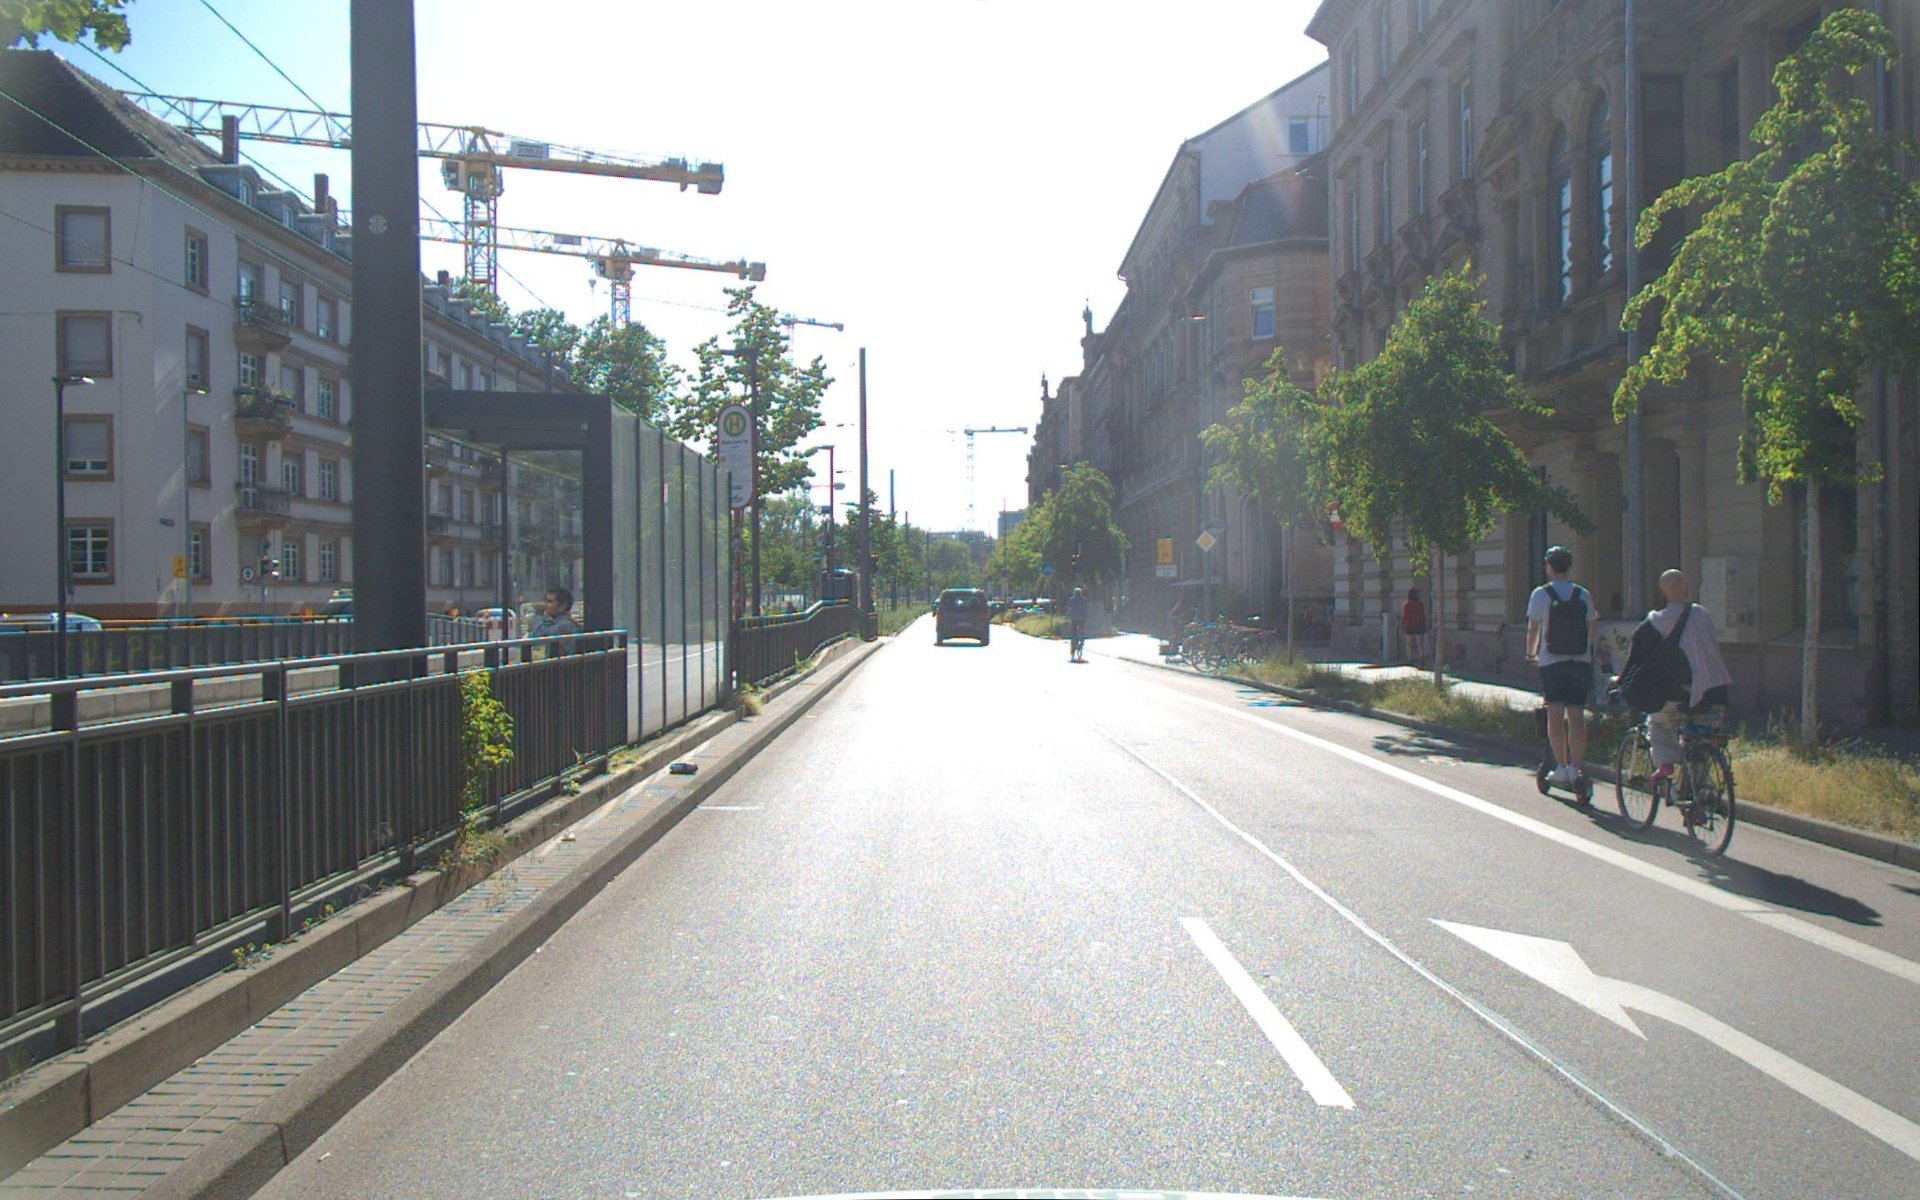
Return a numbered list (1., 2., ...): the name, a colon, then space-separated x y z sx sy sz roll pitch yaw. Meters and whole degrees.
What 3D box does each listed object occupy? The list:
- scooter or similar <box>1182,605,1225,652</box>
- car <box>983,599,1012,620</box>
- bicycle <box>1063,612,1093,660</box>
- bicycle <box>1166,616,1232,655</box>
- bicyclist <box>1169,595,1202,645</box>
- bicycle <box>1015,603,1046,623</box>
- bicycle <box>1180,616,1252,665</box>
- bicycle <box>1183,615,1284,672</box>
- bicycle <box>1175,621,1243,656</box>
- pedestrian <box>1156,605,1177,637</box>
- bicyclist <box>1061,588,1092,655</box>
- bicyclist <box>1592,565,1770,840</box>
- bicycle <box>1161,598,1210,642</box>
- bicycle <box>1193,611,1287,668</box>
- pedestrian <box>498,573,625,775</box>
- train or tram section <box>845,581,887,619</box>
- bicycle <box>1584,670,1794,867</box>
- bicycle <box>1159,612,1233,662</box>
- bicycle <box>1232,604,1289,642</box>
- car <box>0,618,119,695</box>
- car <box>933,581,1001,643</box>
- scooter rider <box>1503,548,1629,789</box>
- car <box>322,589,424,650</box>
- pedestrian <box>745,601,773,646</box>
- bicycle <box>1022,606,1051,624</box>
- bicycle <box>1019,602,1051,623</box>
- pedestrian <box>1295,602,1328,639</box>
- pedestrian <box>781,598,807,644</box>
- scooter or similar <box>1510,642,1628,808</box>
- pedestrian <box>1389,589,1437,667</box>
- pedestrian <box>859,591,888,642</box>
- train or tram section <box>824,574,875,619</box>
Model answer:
1. scooter or similar: 6.476 0.766 44.018 1.087 1.210 0.419 -2 0 6
2. car: 2.778 0.677 124.430 1.987 1.525 4.653 -1 0 -1
3. bicycle: 3.060 0.923 42.979 0.589 1.201 1.868 1 0 -1
4. bicycle: 6.158 0.909 42.601 1.635 0.960 0.607 -2 0 6
5. bicyclist: 7.449 0.665 54.544 0.652 1.556 0.795 -5 0 -23
6. bicycle: 4.305 0.771 101.004 1.757 1.048 0.527 -5 0 -1
7. bicycle: 6.004 0.947 38.899 1.566 1.063 0.607 -3 0 2
8. bicycle: 5.987 0.948 36.215 1.959 1.111 0.845 -3 0 -11
9. bicycle: 6.304 0.971 41.938 1.635 0.835 0.607 -2 0 6
10. pedestrian: 7.972 0.798 63.855 0.691 1.198 0.635 -2 0 -1
11. bicyclist: 3.037 0.553 43.125 0.670 1.702 0.922 1 0 -2
12. bicyclist: 4.768 0.653 10.985 0.763 1.741 0.868 1 0 -2
13. bicycle: 7.426 0.672 54.576 0.607 1.353 1.886 -5 0 -23
14. bicycle: 6.353 0.893 37.595 1.954 1.148 0.710 -3 0 0
15. pedestrian: -3.170 0.572 13.217 0.796 1.563 0.798 -1 0 1
16. train or tram section: -7.288 0.077 129.898 2.700 2.791 9.862 1 -1 0
17. bicycle: 4.787 1.067 10.990 0.546 1.111 1.792 1 0 -1
18. bicycle: 5.759 0.895 40.449 1.688 1.120 0.607 -3 0 2
19. bicycle: 9.975 0.757 54.894 1.779 1.191 0.654 -1 3 3
20. car: -17.356 0.997 30.573 1.660 1.309 3.959 1 -1 -2
21. car: 0.184 0.406 55.916 2.155 1.960 4.653 -1 0 -1
22. scooter rider: 4.947 0.540 13.538 0.653 1.893 0.901 1 0 -2
23. car: -18.227 0.610 51.544 1.783 1.826 4.087 1 -1 -2
24. pedestrian: -7.019 0.814 57.840 0.847 1.563 0.909 0 0 -1
25. bicycle: 4.606 0.883 99.664 1.756 1.048 0.527 -1 0 -1
26. bicycle: 4.368 0.730 96.612 1.757 1.048 0.527 -5 0 -1
27. pedestrian: 11.910 0.693 56.016 0.833 1.235 0.932 0 0 -8
28. pedestrian: -5.706 0.732 56.789 0.796 1.563 0.798 0 0 1
29. scooter or similar: 4.925 0.985 13.433 0.481 1.248 1.170 1 0 -2
30. pedestrian: 9.271 0.559 33.873 0.695 1.569 0.927 -1 0 -1
31. pedestrian: -3.334 0.630 63.447 1.055 1.942 0.652 -1 0 -8
32. train or tram section: -7.296 -0.174 110.207 2.700 2.791 9.862 1 -1 0
